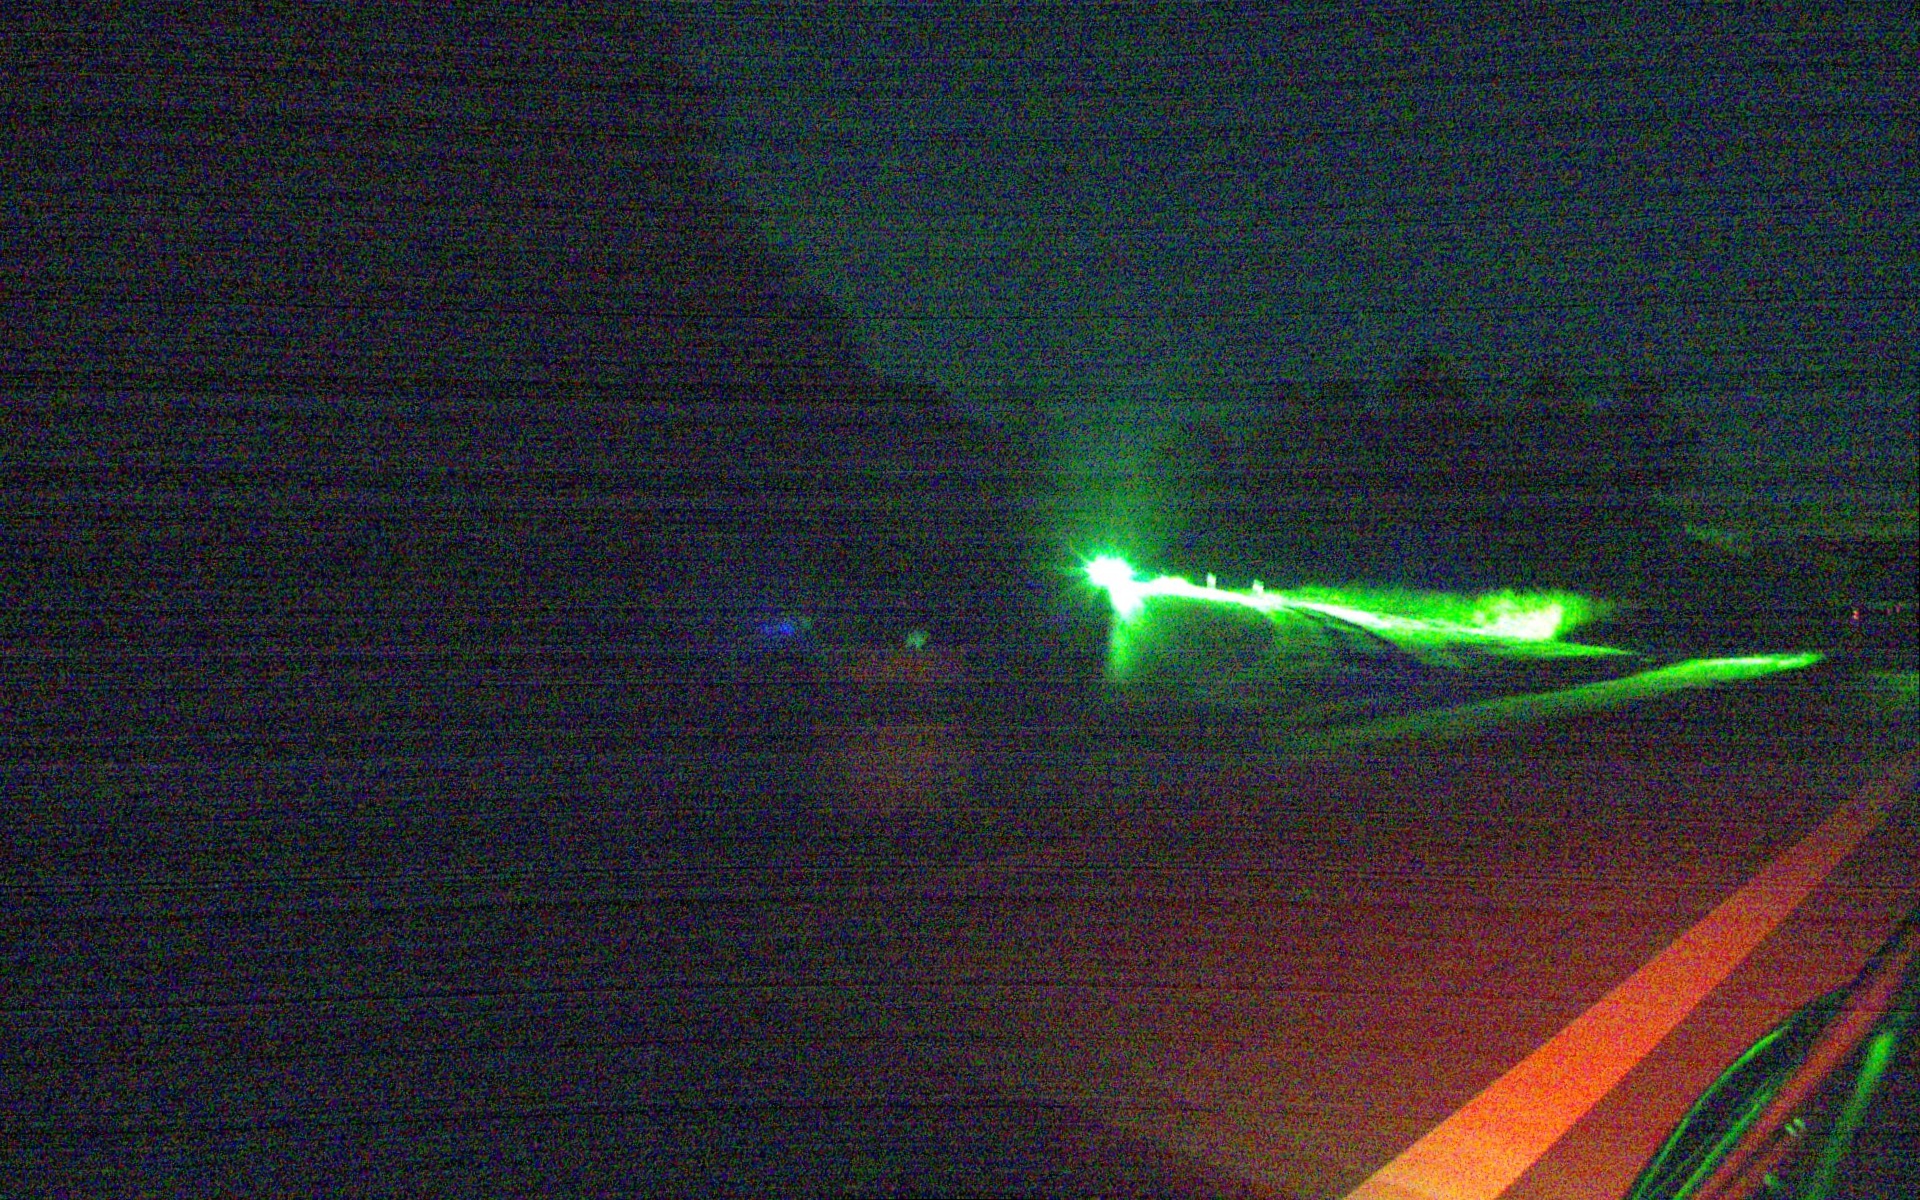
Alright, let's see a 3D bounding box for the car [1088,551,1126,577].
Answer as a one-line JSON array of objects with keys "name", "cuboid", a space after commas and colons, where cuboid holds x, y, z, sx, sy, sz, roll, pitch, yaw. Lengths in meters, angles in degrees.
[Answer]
[{"name": "car", "cuboid": [11.138, -2.711, 77.120, 1.960, 1.877, 4.004, -1, 0, -5]}]
